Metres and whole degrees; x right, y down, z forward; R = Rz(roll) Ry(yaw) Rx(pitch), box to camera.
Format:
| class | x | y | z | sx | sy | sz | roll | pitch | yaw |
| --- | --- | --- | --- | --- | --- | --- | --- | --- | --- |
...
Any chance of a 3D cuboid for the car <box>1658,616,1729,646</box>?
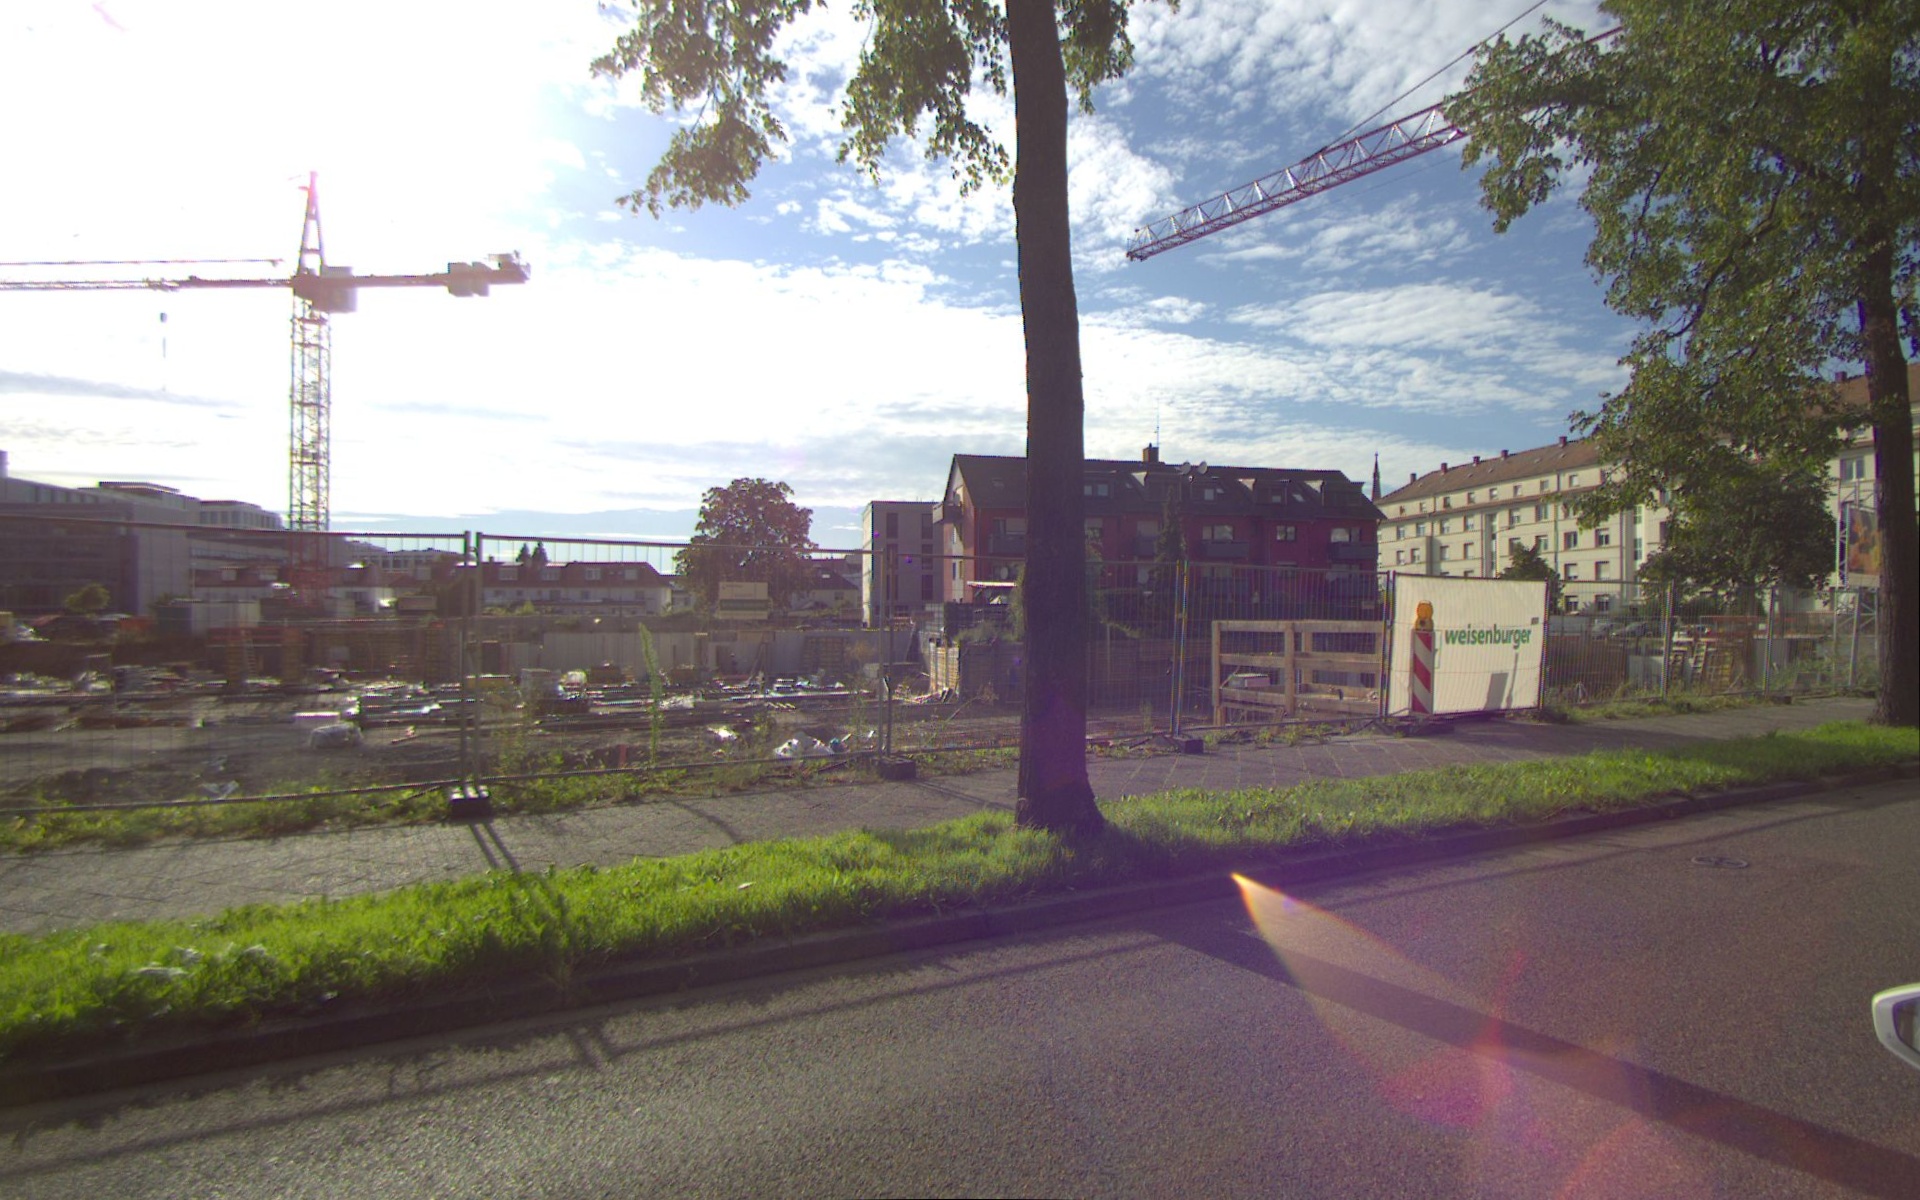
| class | x | y | z | sx | sy | sz | roll | pitch | yaw |
| --- | --- | --- | --- | --- | --- | --- | --- | --- | --- |
| car | 51.711 | 2.154 | 70.824 | 3.932 | 2.040 | 1.995 | 0 | -2 | -15 |
